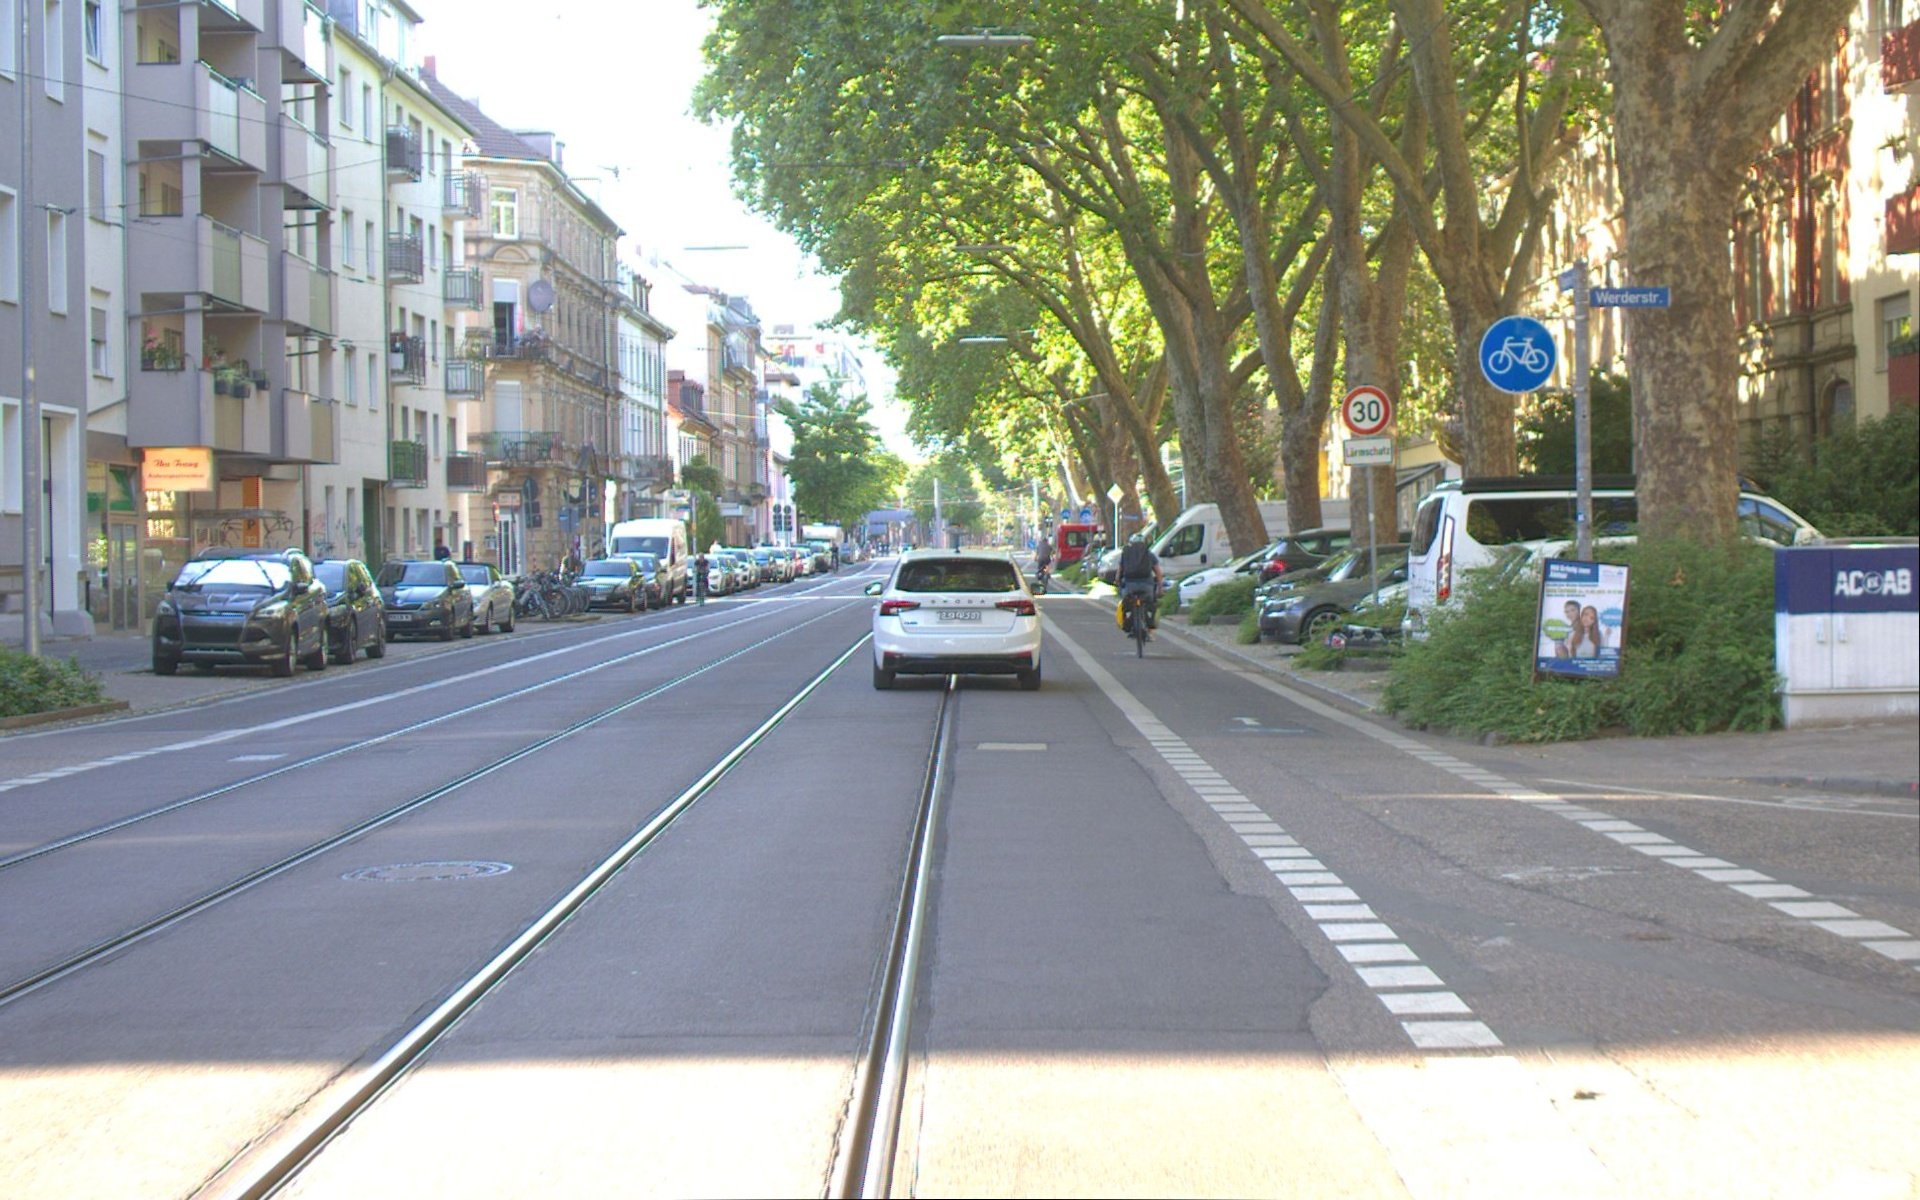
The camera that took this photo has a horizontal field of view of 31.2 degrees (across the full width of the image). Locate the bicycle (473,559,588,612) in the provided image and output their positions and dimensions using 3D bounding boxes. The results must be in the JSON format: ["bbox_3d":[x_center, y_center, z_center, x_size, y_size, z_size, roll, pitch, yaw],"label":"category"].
[{"bbox_3d":[-9.938,-0.322,79.578,2.525,1.168,0.883,1,-1,-39],"label":"bicycle"}]

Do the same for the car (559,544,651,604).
[{"bbox_3d":[-9.437,-0.706,91.550,1.993,1.525,4.000,-1,1,0],"label":"car"}]

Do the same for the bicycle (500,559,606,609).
[{"bbox_3d":[-9.959,-0.394,84.188,2.524,1.168,0.719,1,-1,-5],"label":"bicycle"}]

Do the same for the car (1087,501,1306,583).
[{"bbox_3d":[6.840,-1.690,100.097,6.130,2.274,2.529,-1,1,-1],"label":"car"}]

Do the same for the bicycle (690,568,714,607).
[{"bbox_3d":[-7.439,-0.365,99.021,0.605,1.067,1.583,-1,1,-2],"label":"bicycle"}]

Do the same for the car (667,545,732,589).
[{"bbox_3d":[-9.340,-1.201,123.602,1.993,1.525,4.000,-1,1,0],"label":"car"}]

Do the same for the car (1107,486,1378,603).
[{"bbox_3d":[6.652,-1.321,81.481,6.130,2.626,2.529,-1,1,-1],"label":"car"}]

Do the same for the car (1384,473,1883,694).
[{"bbox_3d":[6.690,-0.178,34.494,4.543,2.069,2.001,-1,1,-2],"label":"car"}]

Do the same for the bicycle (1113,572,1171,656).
[{"bbox_3d":[2.433,0.180,46.005,0.681,1.067,1.781,-1,1,1],"label":"bicycle"}]

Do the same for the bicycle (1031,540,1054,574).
[{"bbox_3d":[2.688,-1.398,111.976,0.649,1.067,1.583,-1,1,-2],"label":"bicycle"}]

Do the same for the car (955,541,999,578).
[{"bbox_3d":[0.707,-1.713,143.328,1.761,1.470,4.000,-1,1,1],"label":"car"}]

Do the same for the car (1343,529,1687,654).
[{"bbox_3d":[6.966,-0.125,43.453,4.036,1.474,1.923,-1,1,1],"label":"car"}]

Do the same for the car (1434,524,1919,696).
[{"bbox_3d":[6.698,0.073,31.919,4.297,1.474,1.831,-1,1,-1],"label":"car"}]

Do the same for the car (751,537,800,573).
[{"bbox_3d":[-8.549,-2.068,159.589,1.993,1.634,4.000,0,0,0],"label":"car"}]

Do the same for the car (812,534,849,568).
[{"bbox_3d":[-7.789,-2.954,207.161,1.993,2.007,4.000,-1,1,0],"label":"car"}]

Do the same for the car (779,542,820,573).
[{"bbox_3d":[-8.656,-2.302,185.420,1.993,1.634,4.000,0,0,0],"label":"car"}]

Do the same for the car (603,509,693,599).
[{"bbox_3d":[-9.346,-1.393,103.266,2.178,2.588,4.949,-1,1,0],"label":"car"}]

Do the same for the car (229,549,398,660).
[{"bbox_3d":[-9.678,0.034,51.731,1.702,1.539,4.242,2,1,0],"label":"car"}]

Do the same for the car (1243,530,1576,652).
[{"bbox_3d":[5.935,-0.137,45.718,4.142,1.509,1.931,-1,1,-1],"label":"car"}]

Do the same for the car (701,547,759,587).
[{"bbox_3d":[-9.182,-1.327,137.564,1.993,1.525,4.000,-1,1,0],"label":"car"}]

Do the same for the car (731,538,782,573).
[{"bbox_3d":[-9.044,-1.980,152.904,1.993,1.525,4.000,-1,1,0],"label":"car"}]

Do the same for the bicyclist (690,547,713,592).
[{"bbox_3d":[-7.456,-0.884,99.059,0.597,1.281,0.917,-1,1,-2],"label":"bicyclist"}]

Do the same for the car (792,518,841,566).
[{"bbox_3d":[-9.415,-3.787,226.152,2.968,3.145,5.847,0,0,0],"label":"car"}]

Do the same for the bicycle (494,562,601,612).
[{"bbox_3d":[-9.970,-0.305,83.133,2.524,1.168,0.719,1,-1,-4],"label":"bicycle"}]

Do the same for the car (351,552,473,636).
[{"bbox_3d":[-9.901,-0.128,62.329,1.653,1.432,3.837,-1,1,-1],"label":"car"}]

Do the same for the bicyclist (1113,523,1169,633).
[{"bbox_3d":[2.422,-0.299,46.012,0.678,1.438,1.047,-1,1,1],"label":"bicyclist"}]

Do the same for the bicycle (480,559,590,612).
[{"bbox_3d":[-9.934,-0.335,80.409,2.524,1.168,0.719,1,-1,-6],"label":"bicycle"}]

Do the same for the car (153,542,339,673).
[{"bbox_3d":[-9.613,0.064,46.584,1.702,1.645,4.242,2,1,-1],"label":"car"}]

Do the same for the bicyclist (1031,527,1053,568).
[{"bbox_3d":[2.665,-1.710,111.988,0.649,1.339,0.934,-1,1,-2],"label":"bicyclist"}]

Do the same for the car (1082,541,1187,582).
[{"bbox_3d":[6.882,-1.525,136.127,4.049,1.535,2.000,-1,1,0],"label":"car"}]

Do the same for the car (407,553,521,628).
[{"bbox_3d":[-9.686,-0.209,67.369,1.485,1.398,3.990,-1,1,2],"label":"car"}]

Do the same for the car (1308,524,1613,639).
[{"bbox_3d":[6.971,-0.265,48.146,3.987,1.509,1.761,-1,1,-1],"label":"car"}]

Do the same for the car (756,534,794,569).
[{"bbox_3d":[-11.004,-2.878,204.725,1.993,2.007,4.000,-1,1,0],"label":"car"}]

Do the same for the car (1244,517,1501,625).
[{"bbox_3d":[6.757,-0.488,56.621,3.987,1.674,1.723,-1,1,-1],"label":"car"}]

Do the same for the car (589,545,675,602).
[{"bbox_3d":[-9.259,-0.764,97.329,1.993,1.525,4.000,-1,1,0],"label":"car"}]

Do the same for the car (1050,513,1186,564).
[{"bbox_3d":[7.343,-2.874,160.313,6.130,2.274,2.529,-1,1,-1],"label":"car"}]

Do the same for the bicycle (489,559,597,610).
[{"bbox_3d":[-9.968,-0.369,82.284,2.524,1.168,0.719,1,-1,-4],"label":"bicycle"}]

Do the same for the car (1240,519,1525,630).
[{"bbox_3d":[6.639,-0.414,54.317,4.234,1.661,1.848,-1,1,-1],"label":"car"}]

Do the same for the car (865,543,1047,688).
[{"bbox_3d":[-0.024,0.120,35.915,1.761,1.379,4.000,-1,1,1],"label":"car"}]

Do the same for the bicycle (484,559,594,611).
[{"bbox_3d":[-9.947,-0.350,81.296,2.524,1.168,0.719,1,-1,-4],"label":"bicycle"}]

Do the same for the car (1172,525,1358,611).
[{"bbox_3d":[6.108,-0.655,69.241,3.634,1.661,1.822,-1,1,3],"label":"car"}]
